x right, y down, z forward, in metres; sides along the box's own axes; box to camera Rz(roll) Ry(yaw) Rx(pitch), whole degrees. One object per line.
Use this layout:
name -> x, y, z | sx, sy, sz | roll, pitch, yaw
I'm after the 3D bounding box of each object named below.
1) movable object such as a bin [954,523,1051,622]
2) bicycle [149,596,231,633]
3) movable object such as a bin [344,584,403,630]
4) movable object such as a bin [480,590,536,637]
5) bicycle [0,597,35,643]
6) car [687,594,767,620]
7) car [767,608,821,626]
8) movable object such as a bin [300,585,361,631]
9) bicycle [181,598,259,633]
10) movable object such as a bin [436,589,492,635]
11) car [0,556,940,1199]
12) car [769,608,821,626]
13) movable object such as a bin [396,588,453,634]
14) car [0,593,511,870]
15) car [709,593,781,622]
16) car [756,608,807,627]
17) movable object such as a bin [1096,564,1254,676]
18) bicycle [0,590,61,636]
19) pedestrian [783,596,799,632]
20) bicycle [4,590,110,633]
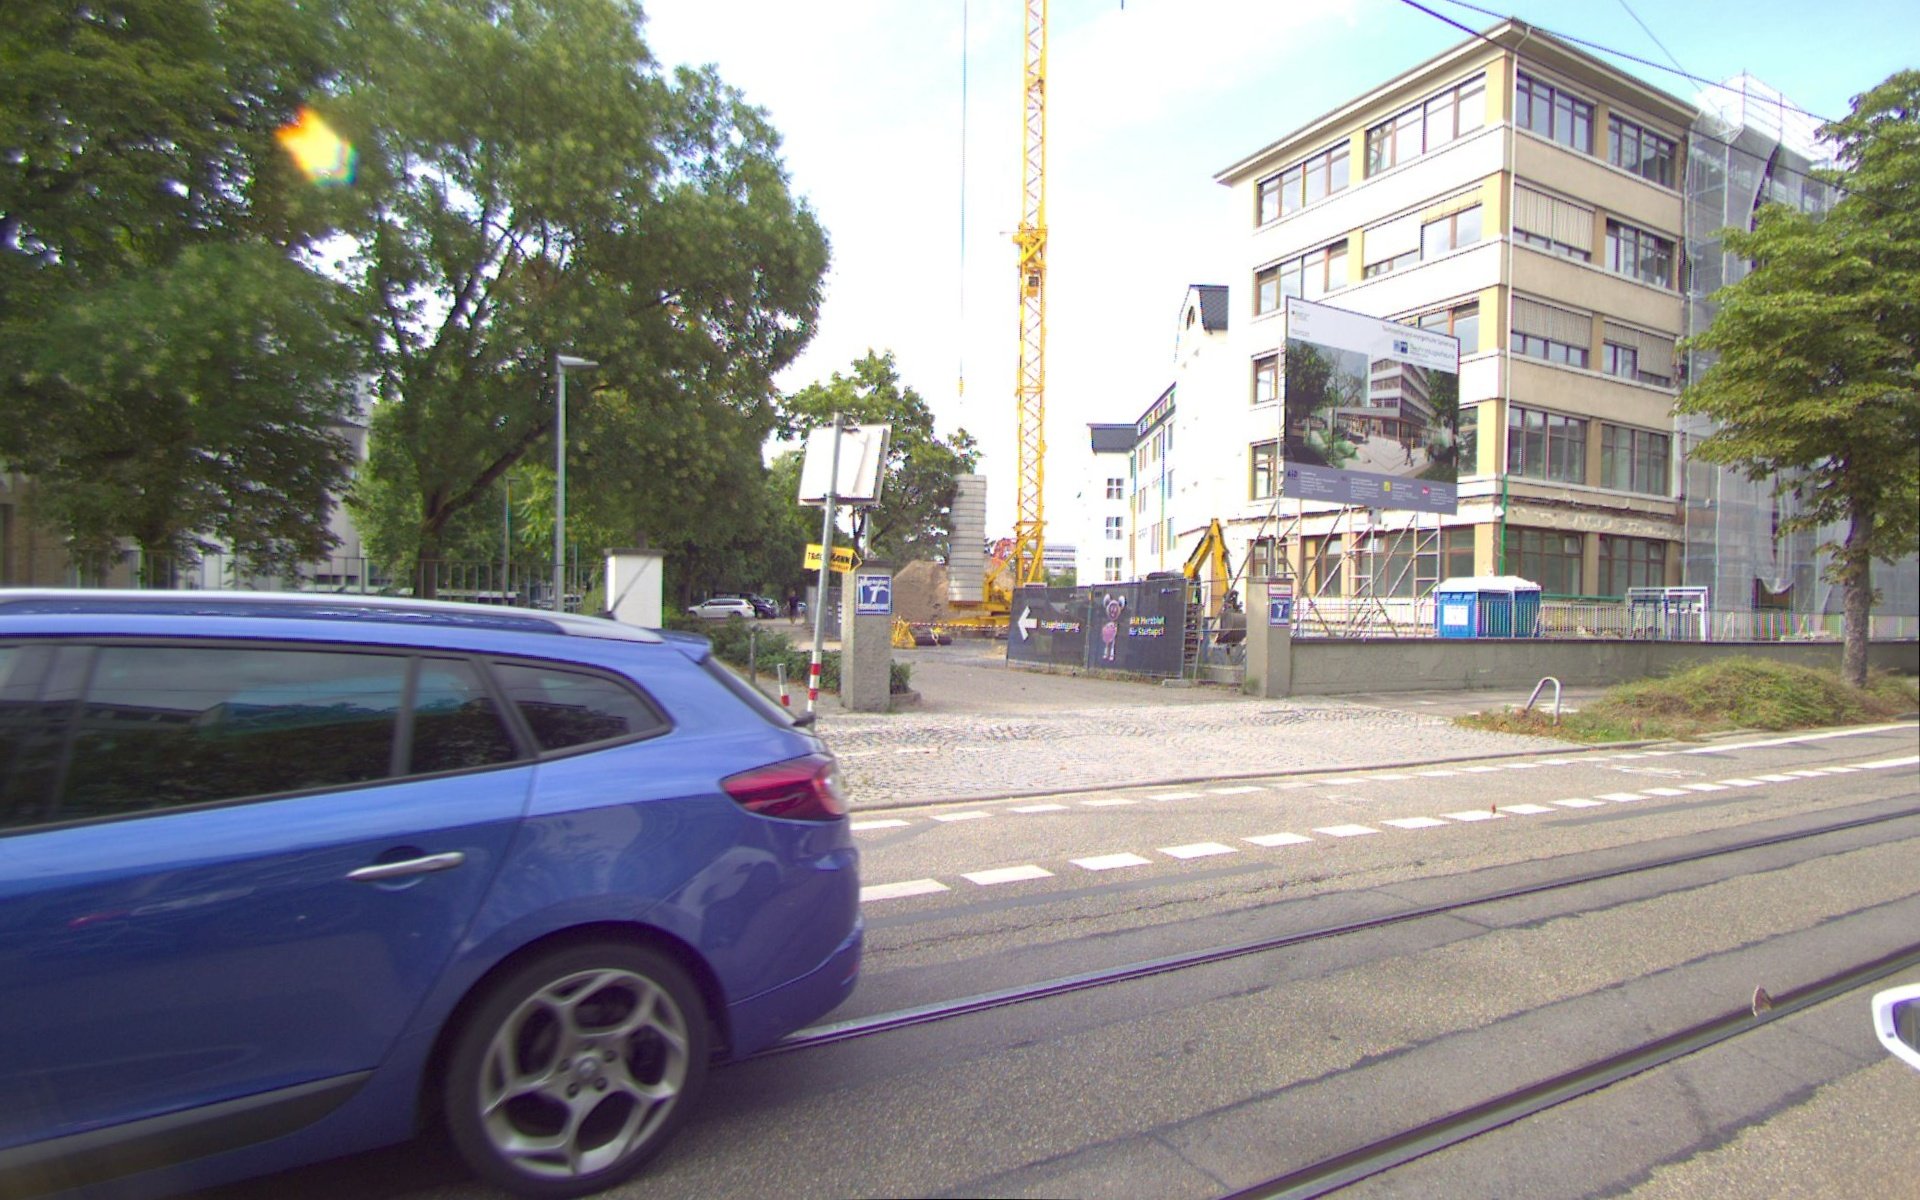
movable object such as a bin -> 3.384, -1.841, 74.206 | 3.781, 6.758, 10.987 | 2, 0, 20
bicycle -> -23.235, 0.442, 30.339 | 1.940, 1.057, 0.594 | 2, 1, -4
movable object such as a bin -> -19.151, 0.224, 32.822 | 1.259, 1.449, 1.122 | 2, 0, -1
movable object such as a bin -> -14.723, 0.442, 32.754 | 1.259, 1.449, 1.122 | 2, 0, -1
bicycle -> -23.058, 0.446, 23.639 | 1.940, 1.057, 0.594 | 2, 1, -4
car -> -14.767, 0.460, 63.887 | 4.719, 1.508, 1.998 | 2, 0, -7
car -> -15.073, 1.509, 91.267 | 4.719, 1.508, 1.998 | 2, 0, -7
movable object such as a bin -> -20.514, 0.273, 32.767 | 1.259, 1.449, 1.122 | 2, 0, -1
bicycle -> -23.346, 0.478, 31.695 | 1.940, 1.057, 0.594 | 2, 1, -4
movable object such as a bin -> -16.239, 0.406, 32.929 | 1.259, 1.449, 1.122 | 2, 0, -1
car -> -2.359, 0.675, 2.594 | 4.324, 1.516, 1.725 | 1, -1, -29
car -> -15.439, 1.579, 94.095 | 4.719, 1.508, 1.998 | 2, 0, -7
movable object such as a bin -> -17.577, 0.365, 33.011 | 1.259, 1.449, 1.122 | 2, 0, -1
car -> -4.946, 0.727, 6.524 | 3.559, 1.484, 1.620 | 1, 0, -30
car -> -16.046, 0.587, 75.187 | 4.965, 1.979, 1.999 | 2, 0, -3
car -> -15.567, 1.499, 87.949 | 4.267, 1.564, 1.751 | 2, 0, -7
movable object such as a bin -> 5.086, 0.470, 24.141 | 2.459, 2.475, 3.048 | 2, 0, -19
bicycle -> -23.138, 0.300, 24.420 | 1.940, 1.057, 0.594 | 2, 1, -4
pedestrian -> -8.663, 0.708, 51.488 | 0.736, 1.813, 0.730 | 2, 0, -7
bicycle -> -23.528, 0.300, 26.205 | 1.952, 1.057, 0.590 | 1, 0, -27
